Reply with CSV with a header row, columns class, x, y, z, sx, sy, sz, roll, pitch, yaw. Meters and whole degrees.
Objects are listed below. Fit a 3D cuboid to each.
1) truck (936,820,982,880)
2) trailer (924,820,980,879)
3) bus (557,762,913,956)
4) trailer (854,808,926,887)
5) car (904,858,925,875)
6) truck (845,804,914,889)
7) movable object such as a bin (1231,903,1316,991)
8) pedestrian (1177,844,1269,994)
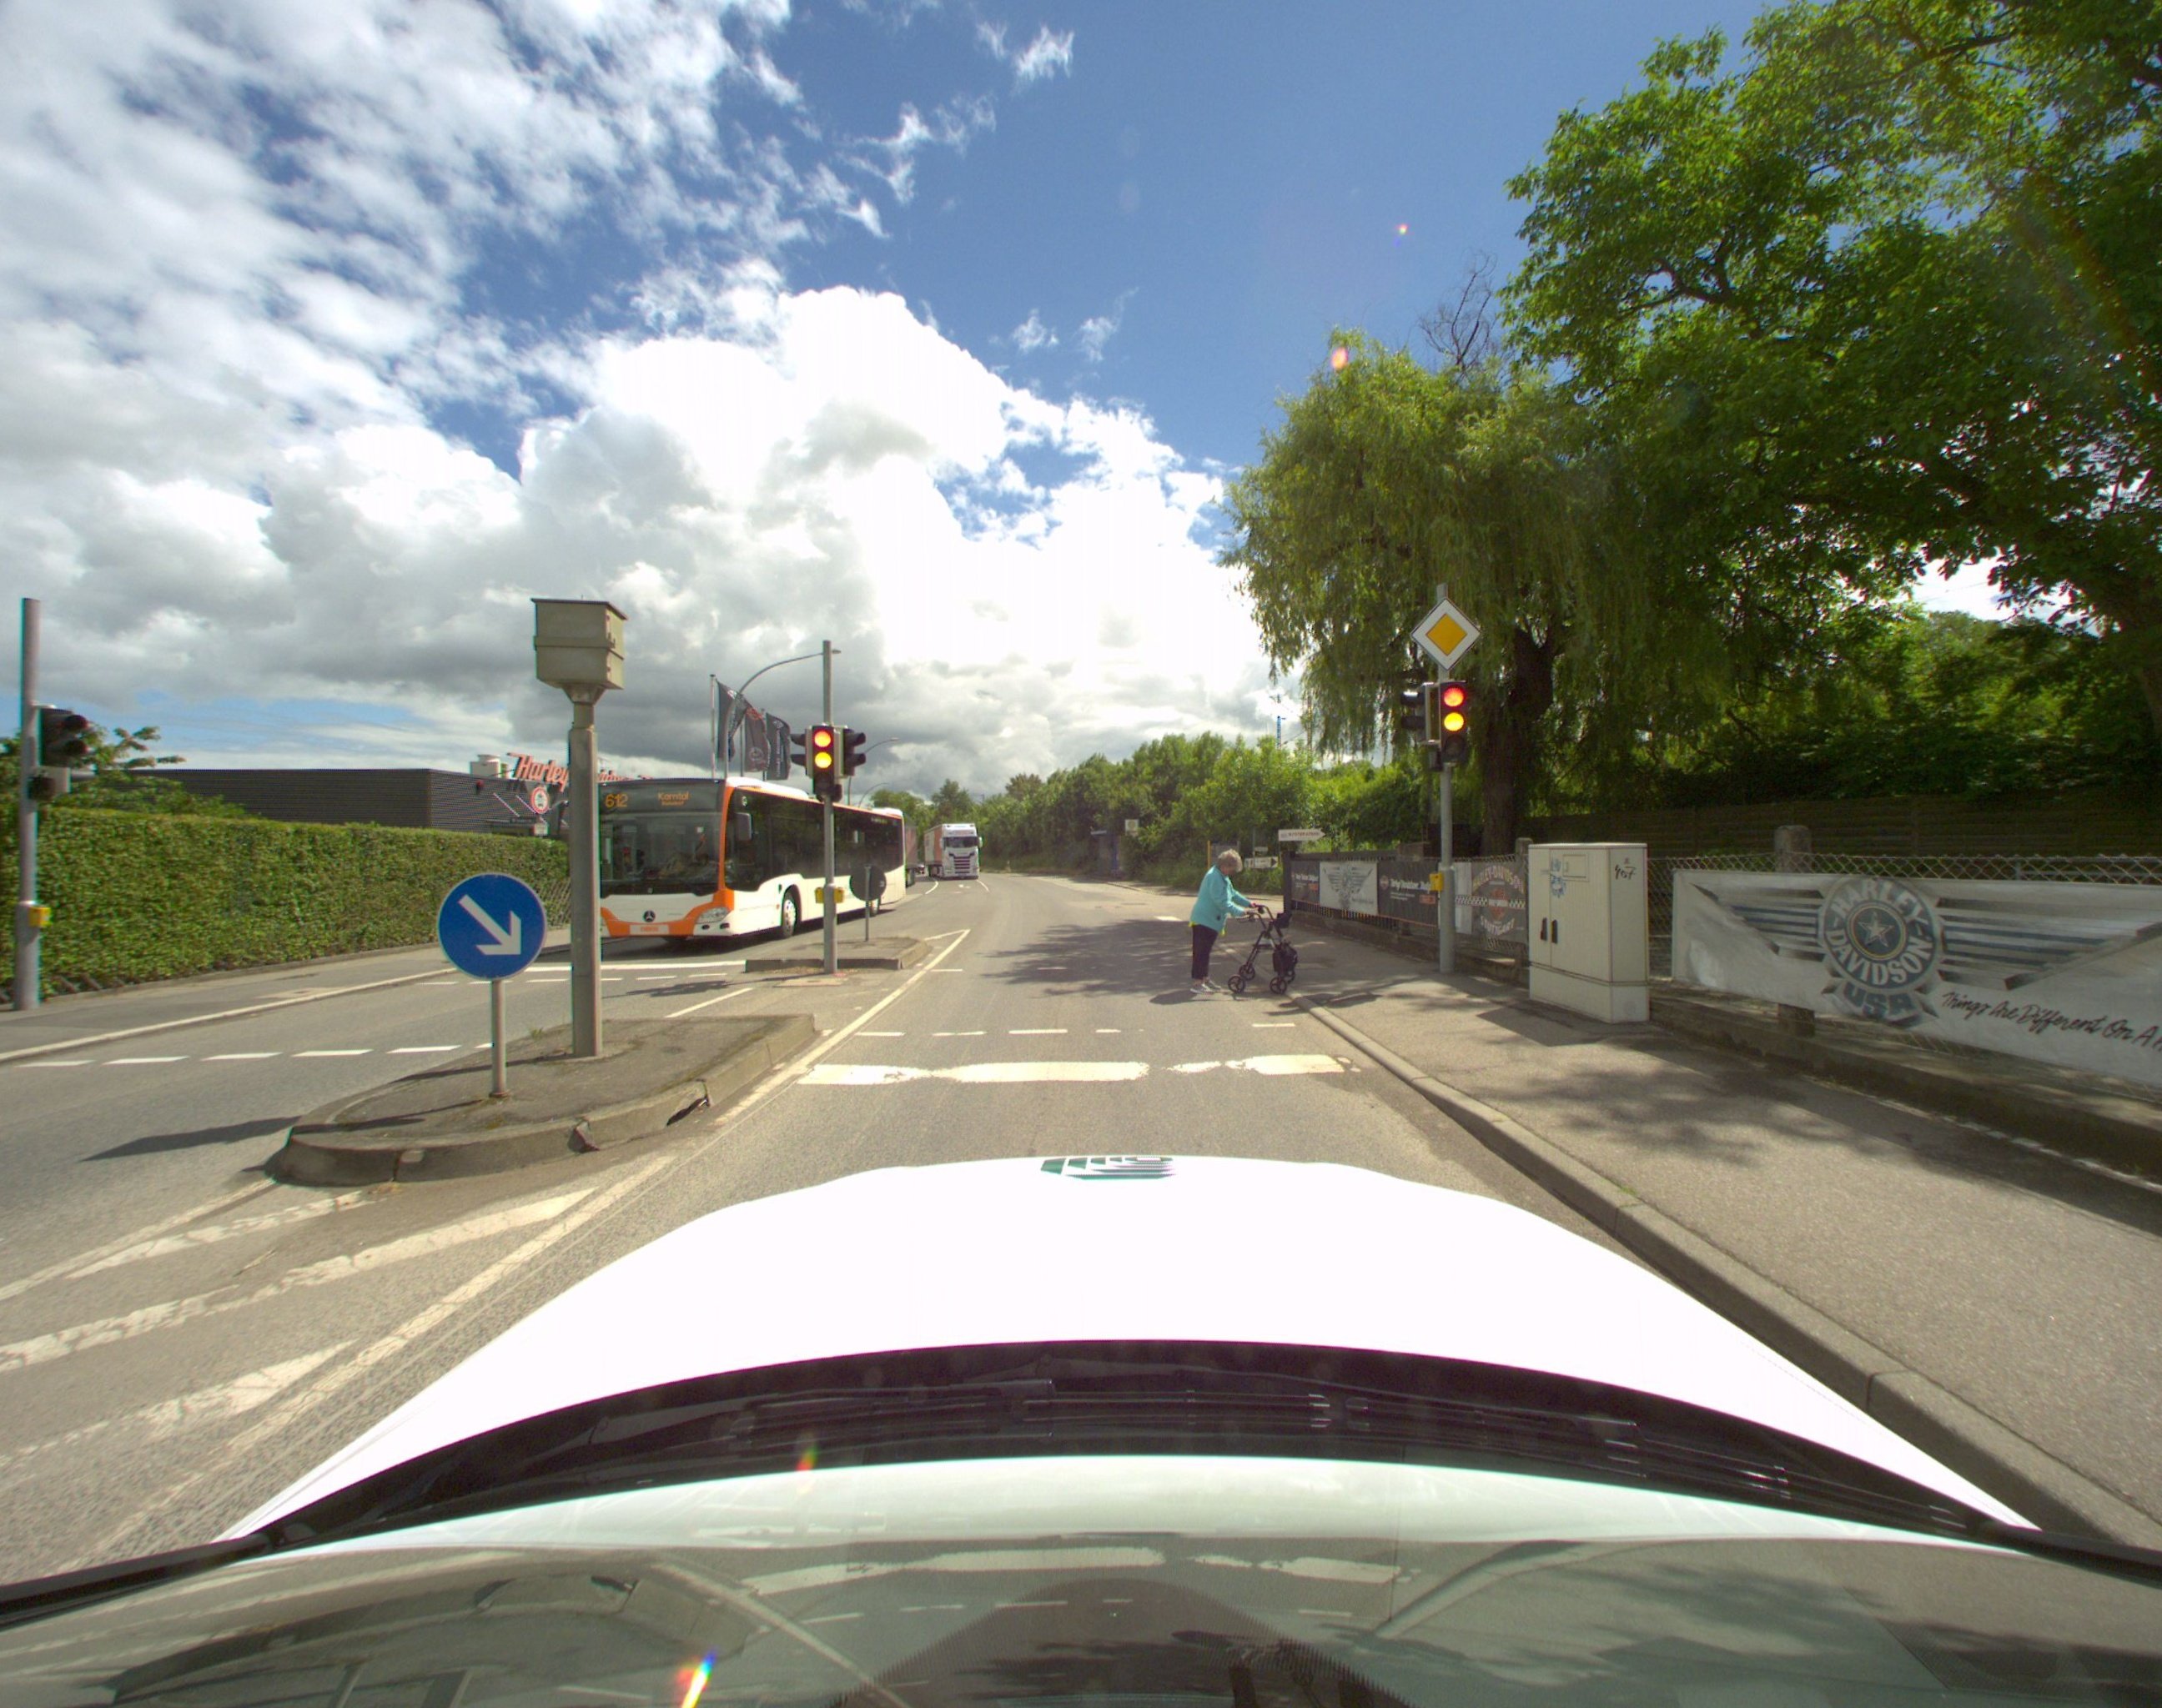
class,x,y,z,sx,sy,sz,roll,pitch,yaw
truck,-8.921,-0.251,59.213,2.776,4.119,4.960,0,-1,-15
trailer,-10.629,-0.244,65.595,2.776,4.145,15.270,0,-1,-15
bus,-6.814,0.122,19.155,2.708,3.031,12.270,-2,-1,2
trailer,-11.353,-0.284,49.826,2.797,4.053,15.513,0,0,-8
car,-16.943,1.281,82.673,1.995,1.706,3.982,0,-1,-13
truck,-10.322,-0.352,42.386,2.797,4.053,6.483,0,-1,-8
movable object such as a bin,2.063,0.988,8.789,0.744,0.871,0.670,0,-1,-2
pedestrian,1.510,0.672,8.776,0.836,1.543,0.733,0,-1,-2
